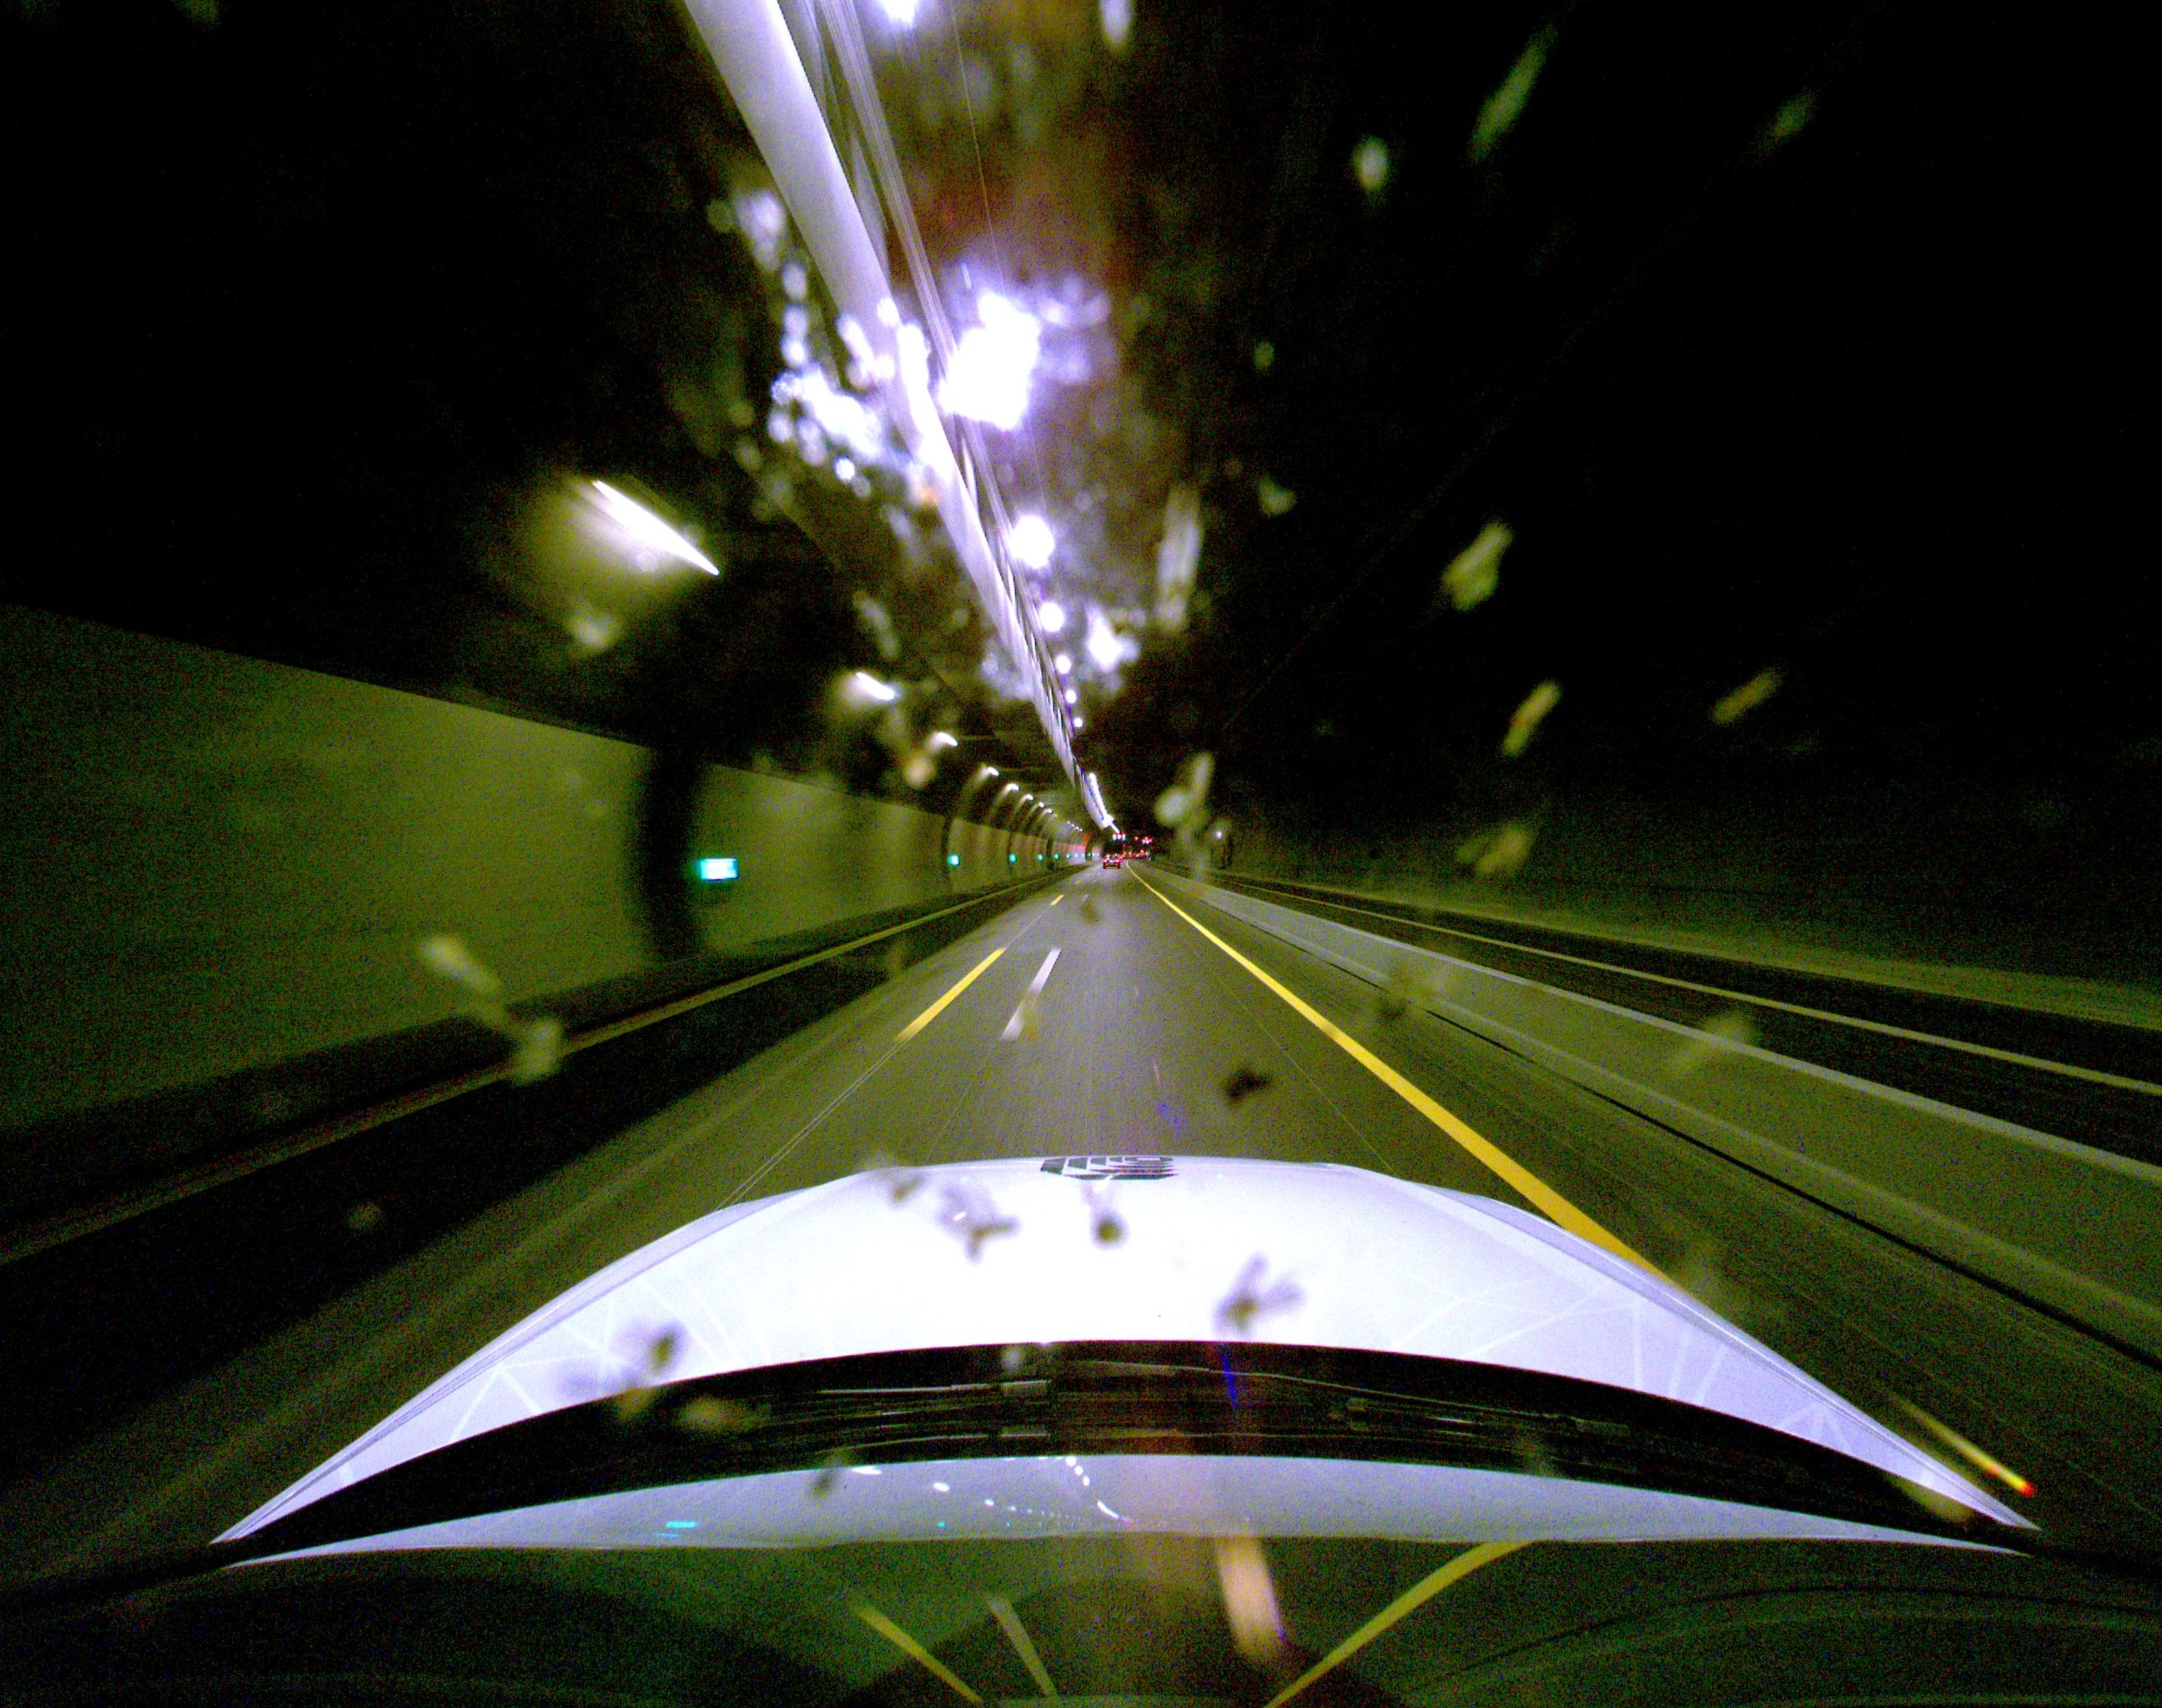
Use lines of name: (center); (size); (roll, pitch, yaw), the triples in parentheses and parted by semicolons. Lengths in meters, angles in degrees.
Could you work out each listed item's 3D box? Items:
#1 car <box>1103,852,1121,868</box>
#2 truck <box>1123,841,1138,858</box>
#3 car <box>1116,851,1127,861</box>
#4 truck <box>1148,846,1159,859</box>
car: (3.319, 0.649, 87.284); (1.881, 1.607, 4.000); (-1, 0, 1)
truck: (15.744, -1.418, 258.143); (4.526, 4.987, 9.608); (-1, 0, 4)
car: (7.614, 0.370, 154.185); (1.986, 2.013, 4.002); (-1, 0, 2)
truck: (19.334, -0.426, 217.597); (2.879, 3.272, 8.410); (-1, 0, 4)
